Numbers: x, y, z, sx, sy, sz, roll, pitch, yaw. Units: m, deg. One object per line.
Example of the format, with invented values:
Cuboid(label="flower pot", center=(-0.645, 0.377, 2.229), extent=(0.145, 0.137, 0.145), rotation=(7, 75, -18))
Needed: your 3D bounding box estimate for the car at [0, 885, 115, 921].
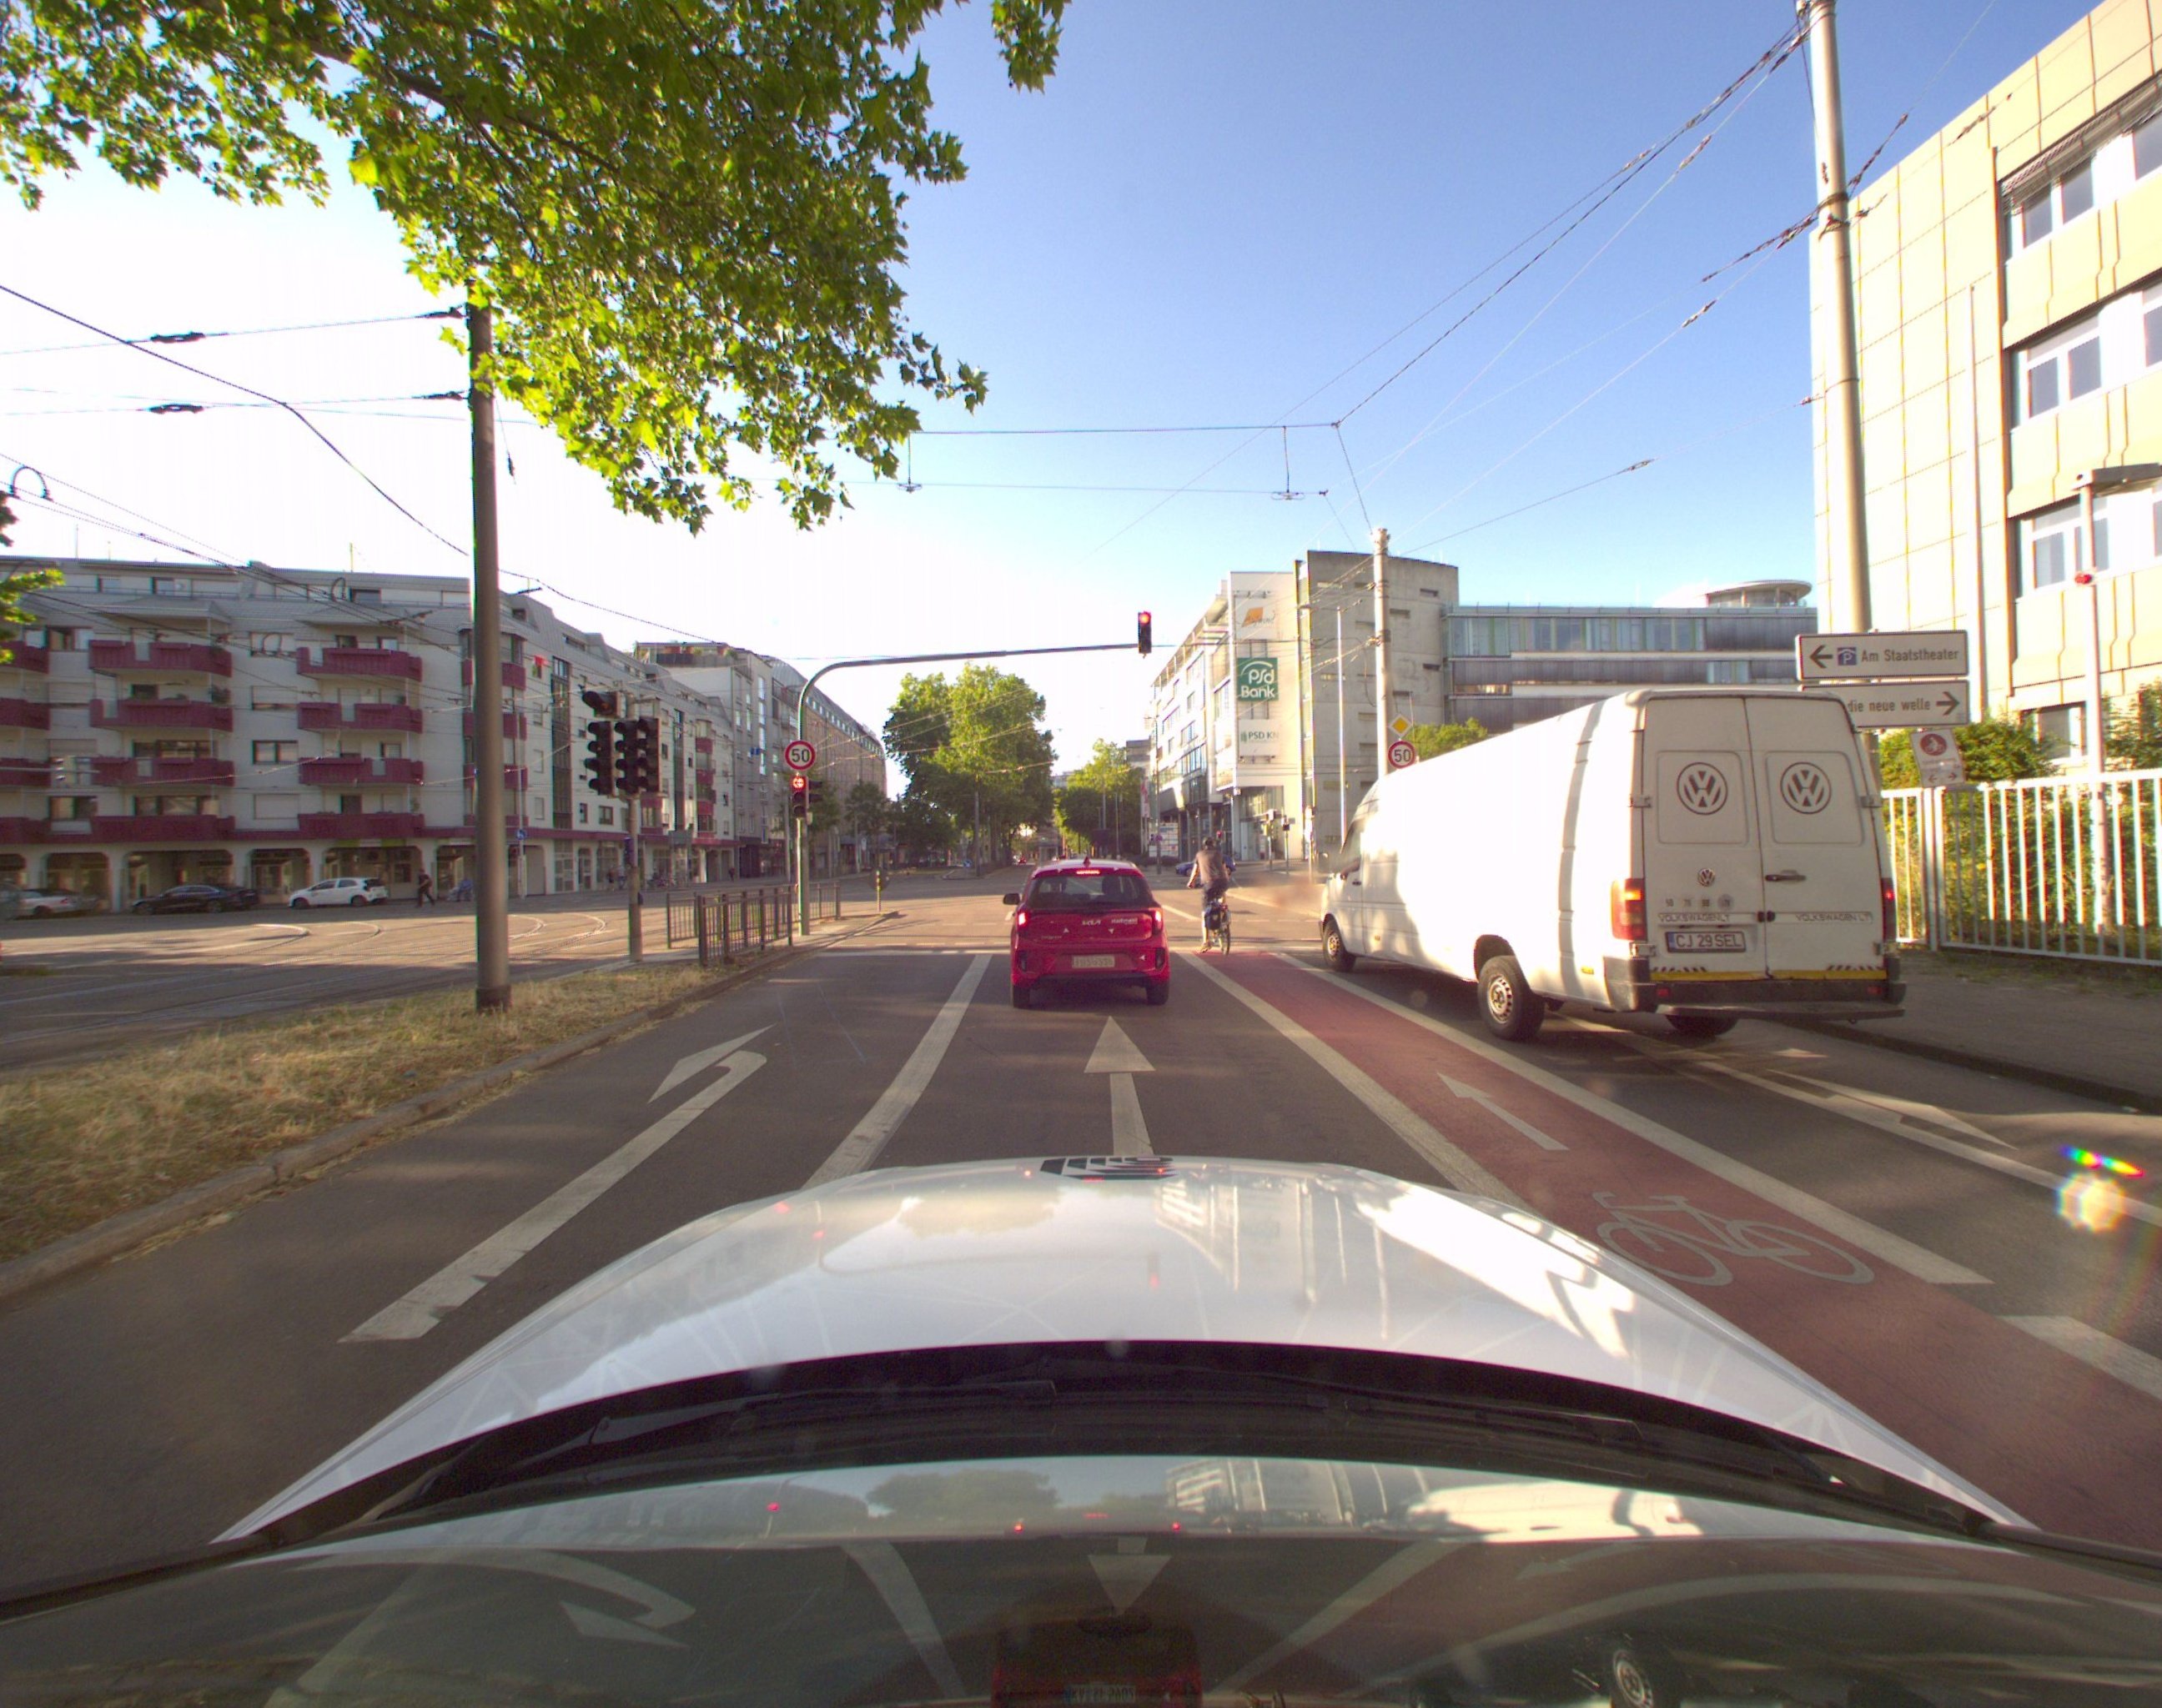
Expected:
Cuboid(label="car", center=(-48.844, 2.324, 38.170), extent=(4.264, 1.464, 1.793), rotation=(-2, 0, -14))

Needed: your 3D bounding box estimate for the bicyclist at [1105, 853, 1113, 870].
Cuboid(label="bicyclist", center=(2.834, 0.758, 83.182), extent=(0.782, 1.635, 0.639), rotation=(-2, 0, 2))

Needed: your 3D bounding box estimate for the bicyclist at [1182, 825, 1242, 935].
Cuboid(label="bicyclist", center=(2.055, 0.391, 12.821), extent=(0.743, 1.669, 0.742), rotation=(0, 0, -9))

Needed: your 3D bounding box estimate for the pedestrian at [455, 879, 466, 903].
Cuboid(label="pedestrian", center=(-32.863, 1.963, 43.131), extent=(0.303, 1.214, 0.317), rotation=(-2, 0, -9))

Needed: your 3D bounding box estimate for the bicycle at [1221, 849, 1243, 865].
Cuboid(label="bicycle", center=(14.447, 0.256, 77.726), extent=(1.931, 1.443, 0.574), rotation=(-2, 0, -5))

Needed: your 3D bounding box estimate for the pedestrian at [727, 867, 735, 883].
Cuboid(label="pedestrian", center=(-31.701, 1.876, 73.831), extent=(0.510, 1.459, 0.526), rotation=(-2, 0, -10))

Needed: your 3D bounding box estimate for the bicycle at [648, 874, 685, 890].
Cuboid(label="bicycle", center=(-28.462, 1.918, 55.921), extent=(2.167, 0.951, 0.490), rotation=(-2, 0, -8))

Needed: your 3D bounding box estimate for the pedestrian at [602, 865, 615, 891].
Cuboid(label="pedestrian", center=(-31.248, 1.577, 53.827), extent=(0.509, 1.699, 0.527), rotation=(-2, 0, -6))

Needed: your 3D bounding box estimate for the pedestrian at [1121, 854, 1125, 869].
Cuboid(label="pedestrian", center=(4.290, 0.746, 82.920), extent=(0.293, 1.562, 0.356), rotation=(-2, 0, 1))

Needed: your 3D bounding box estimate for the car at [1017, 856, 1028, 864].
Cuboid(label="car", center=(-12.874, 1.321, 178.430), extent=(2.057, 1.654, 3.482), rotation=(-2, 0, -9))

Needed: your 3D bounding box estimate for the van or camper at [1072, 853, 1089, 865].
Cuboid(label="van or camper", center=(-0.102, 0.834, 135.037), extent=(2.143, 1.750, 4.421), rotation=(-2, 0, -7))

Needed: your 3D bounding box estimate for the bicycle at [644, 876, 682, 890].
Cuboid(label="bicycle", center=(-28.375, 1.967, 55.282), extent=(2.167, 0.824, 0.526), rotation=(-2, 0, -8))

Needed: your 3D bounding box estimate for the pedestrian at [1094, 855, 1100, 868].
Cuboid(label="pedestrian", center=(2.256, 1.064, 114.211), extent=(0.743, 1.716, 0.745), rotation=(-2, 0, -10))

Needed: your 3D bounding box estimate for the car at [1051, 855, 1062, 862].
Cuboid(label="car", center=(-5.542, 1.083, 183.172), extent=(1.883, 1.528, 4.421), rotation=(-2, 0, -7))

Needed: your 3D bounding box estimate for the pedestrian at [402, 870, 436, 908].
Cuboid(label="pedestrian", center=(-29.999, 1.571, 36.911), extent=(0.708, 1.662, 1.030), rotation=(-2, 0, -8))

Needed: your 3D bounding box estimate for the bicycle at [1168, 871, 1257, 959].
Cuboid(label="bicycle", center=(2.037, 0.909, 12.952), extent=(0.743, 1.224, 2.149), rotation=(0, 0, -9))

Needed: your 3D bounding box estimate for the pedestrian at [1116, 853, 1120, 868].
Cuboid(label="pedestrian", center=(3.736, 0.656, 82.651), extent=(0.292, 1.562, 0.303), rotation=(-2, 0, 11))

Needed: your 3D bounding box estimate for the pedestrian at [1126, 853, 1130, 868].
Cuboid(label="pedestrian", center=(4.775, 0.642, 82.670), extent=(0.293, 1.562, 0.314), rotation=(-2, 0, -1))

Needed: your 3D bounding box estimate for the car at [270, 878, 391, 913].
Cuboid(label="car", center=(-37.614, 2.037, 40.925), extent=(3.995, 1.464, 1.792), rotation=(-2, 0, -16))

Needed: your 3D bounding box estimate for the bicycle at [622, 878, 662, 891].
Cuboid(label="bicycle", center=(-28.632, 1.978, 53.141), extent=(2.167, 0.787, 0.639), rotation=(-2, 0, -7))

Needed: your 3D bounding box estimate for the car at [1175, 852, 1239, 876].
Cuboid(label="car", center=(8.964, 0.683, 58.254), extent=(4.249, 1.568, 1.847), rotation=(-2, 0, -3))

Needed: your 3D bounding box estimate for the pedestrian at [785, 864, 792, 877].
Cuboid(label="pedestrian", center=(-32.939, 1.858, 91.748), extent=(0.509, 1.459, 0.527), rotation=(-2, 0, -6))

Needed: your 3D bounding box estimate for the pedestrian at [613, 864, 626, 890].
Cuboid(label="pedestrian", center=(-30.584, 1.540, 53.933), extent=(0.509, 1.699, 0.527), rotation=(-2, 0, -6))

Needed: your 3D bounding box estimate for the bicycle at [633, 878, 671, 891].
Cuboid(label="bicycle", center=(-28.433, 2.000, 53.976), extent=(2.167, 0.787, 0.490), rotation=(-2, 0, -8))

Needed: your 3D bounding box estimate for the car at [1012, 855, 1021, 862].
Cuboid(label="car", center=(-18.578, 1.263, 234.921), extent=(1.986, 2.013, 4.002), rotation=(-2, 0, 2))

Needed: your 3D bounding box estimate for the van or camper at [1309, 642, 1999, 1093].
Cuboid(label="van or camper", center=(4.450, 0.092, 8.178), extent=(2.263, 2.733, 6.340), rotation=(1, 0, -3))

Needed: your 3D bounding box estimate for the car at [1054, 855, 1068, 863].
Cuboid(label="car", center=(-4.131, 1.000, 169.068), extent=(2.475, 1.528, 4.423), rotation=(-2, 0, -5))

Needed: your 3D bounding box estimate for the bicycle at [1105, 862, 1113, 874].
Cuboid(label="bicycle", center=(2.852, 1.400, 83.026), extent=(0.789, 1.161, 2.501), rotation=(-2, 0, 2))

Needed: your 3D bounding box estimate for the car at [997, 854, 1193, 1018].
Cuboid(label="car", center=(0.033, 0.776, 9.620), extent=(1.835, 1.489, 3.712), rotation=(-2, 0, -4))

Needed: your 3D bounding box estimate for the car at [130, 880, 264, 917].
Cuboid(label="car", center=(-42.755, 2.117, 39.509), extent=(3.996, 1.464, 1.792), rotation=(-2, 0, -16))
